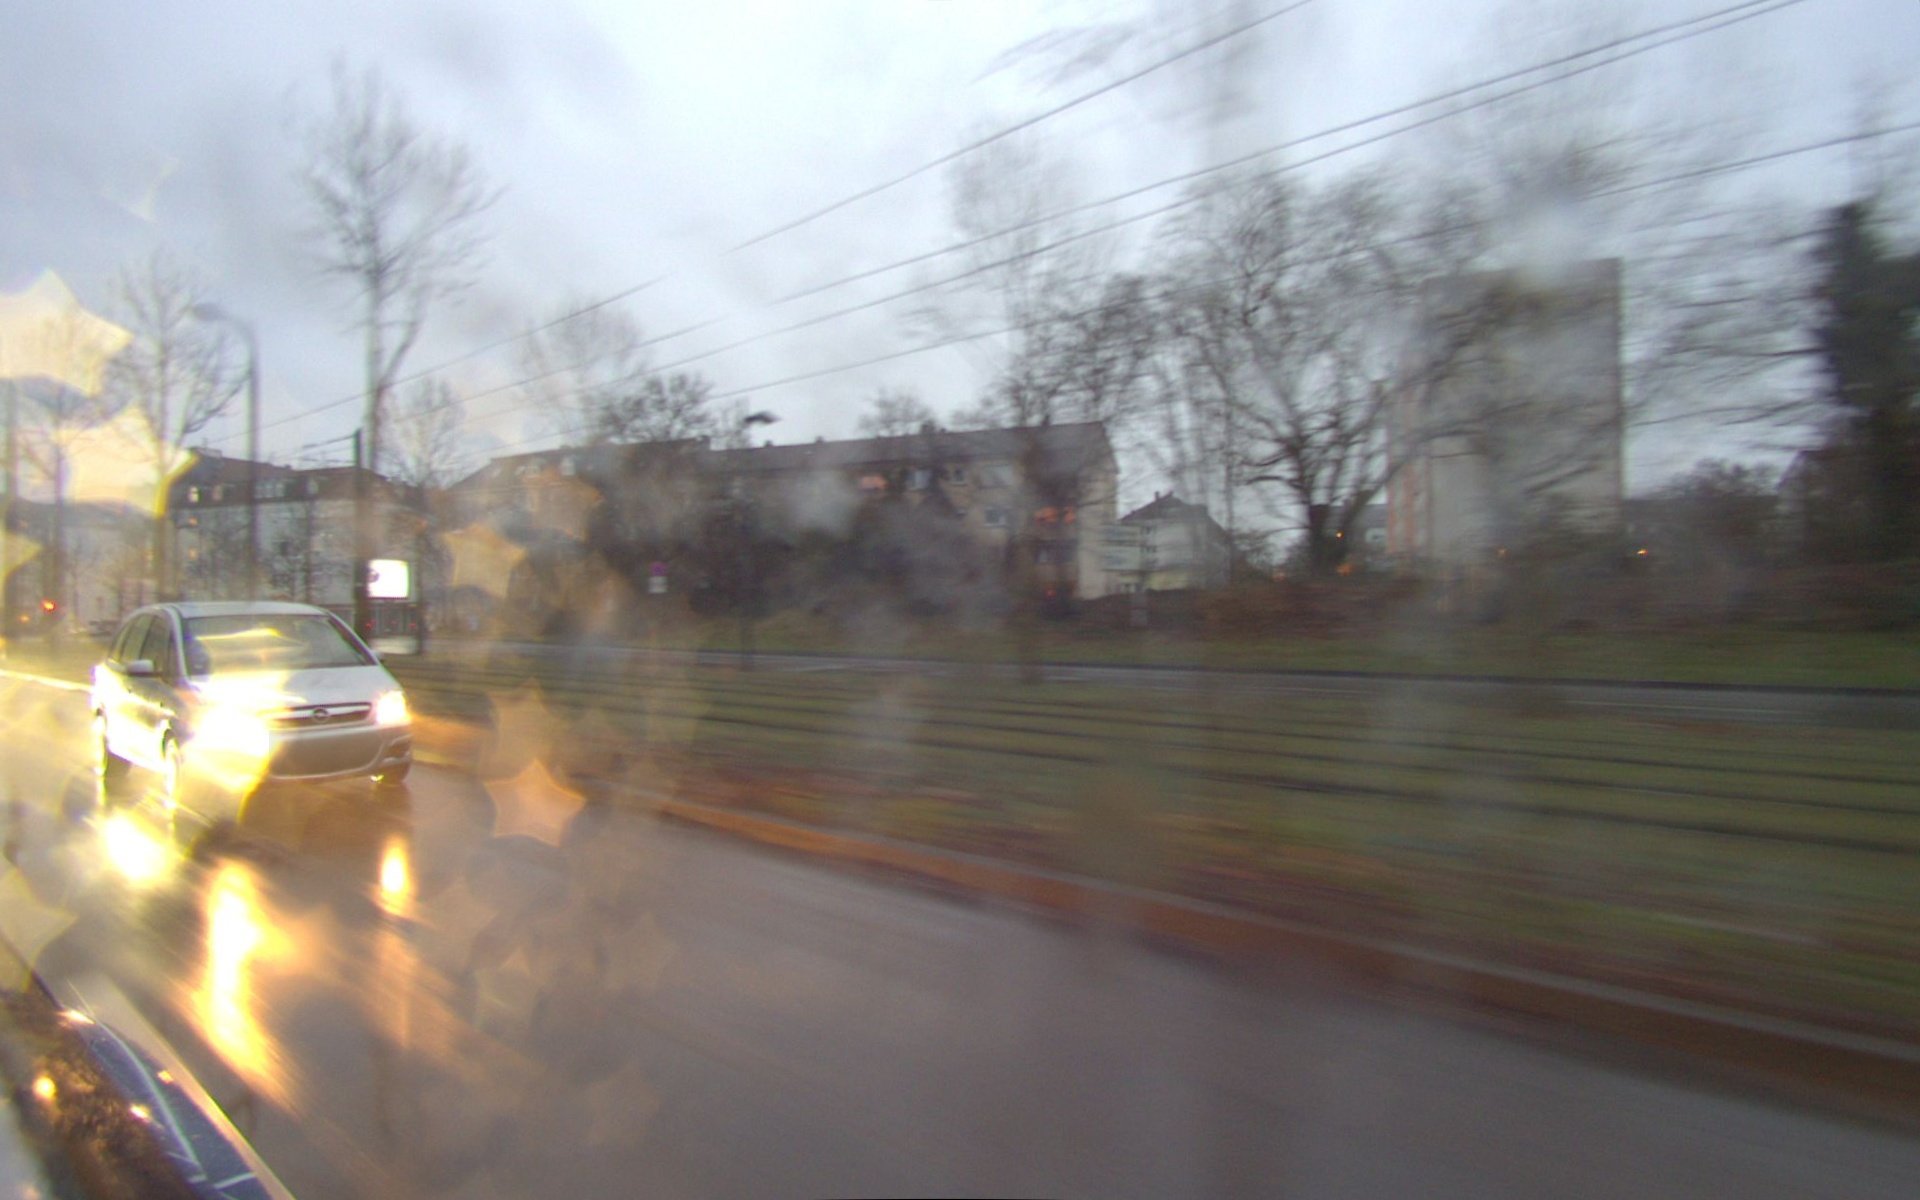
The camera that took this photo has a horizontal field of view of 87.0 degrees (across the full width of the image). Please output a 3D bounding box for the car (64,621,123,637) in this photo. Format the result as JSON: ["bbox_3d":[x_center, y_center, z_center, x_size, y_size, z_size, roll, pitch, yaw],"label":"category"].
[{"bbox_3d":[-100.629,3.377,117.574,2.307,1.871,4.648,-1,-2,17],"label":"car"}]

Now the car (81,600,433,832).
[{"bbox_3d":[-6.260,0.835,8.845,3.921,1.587,1.648,-2,-1,41],"label":"car"}]
